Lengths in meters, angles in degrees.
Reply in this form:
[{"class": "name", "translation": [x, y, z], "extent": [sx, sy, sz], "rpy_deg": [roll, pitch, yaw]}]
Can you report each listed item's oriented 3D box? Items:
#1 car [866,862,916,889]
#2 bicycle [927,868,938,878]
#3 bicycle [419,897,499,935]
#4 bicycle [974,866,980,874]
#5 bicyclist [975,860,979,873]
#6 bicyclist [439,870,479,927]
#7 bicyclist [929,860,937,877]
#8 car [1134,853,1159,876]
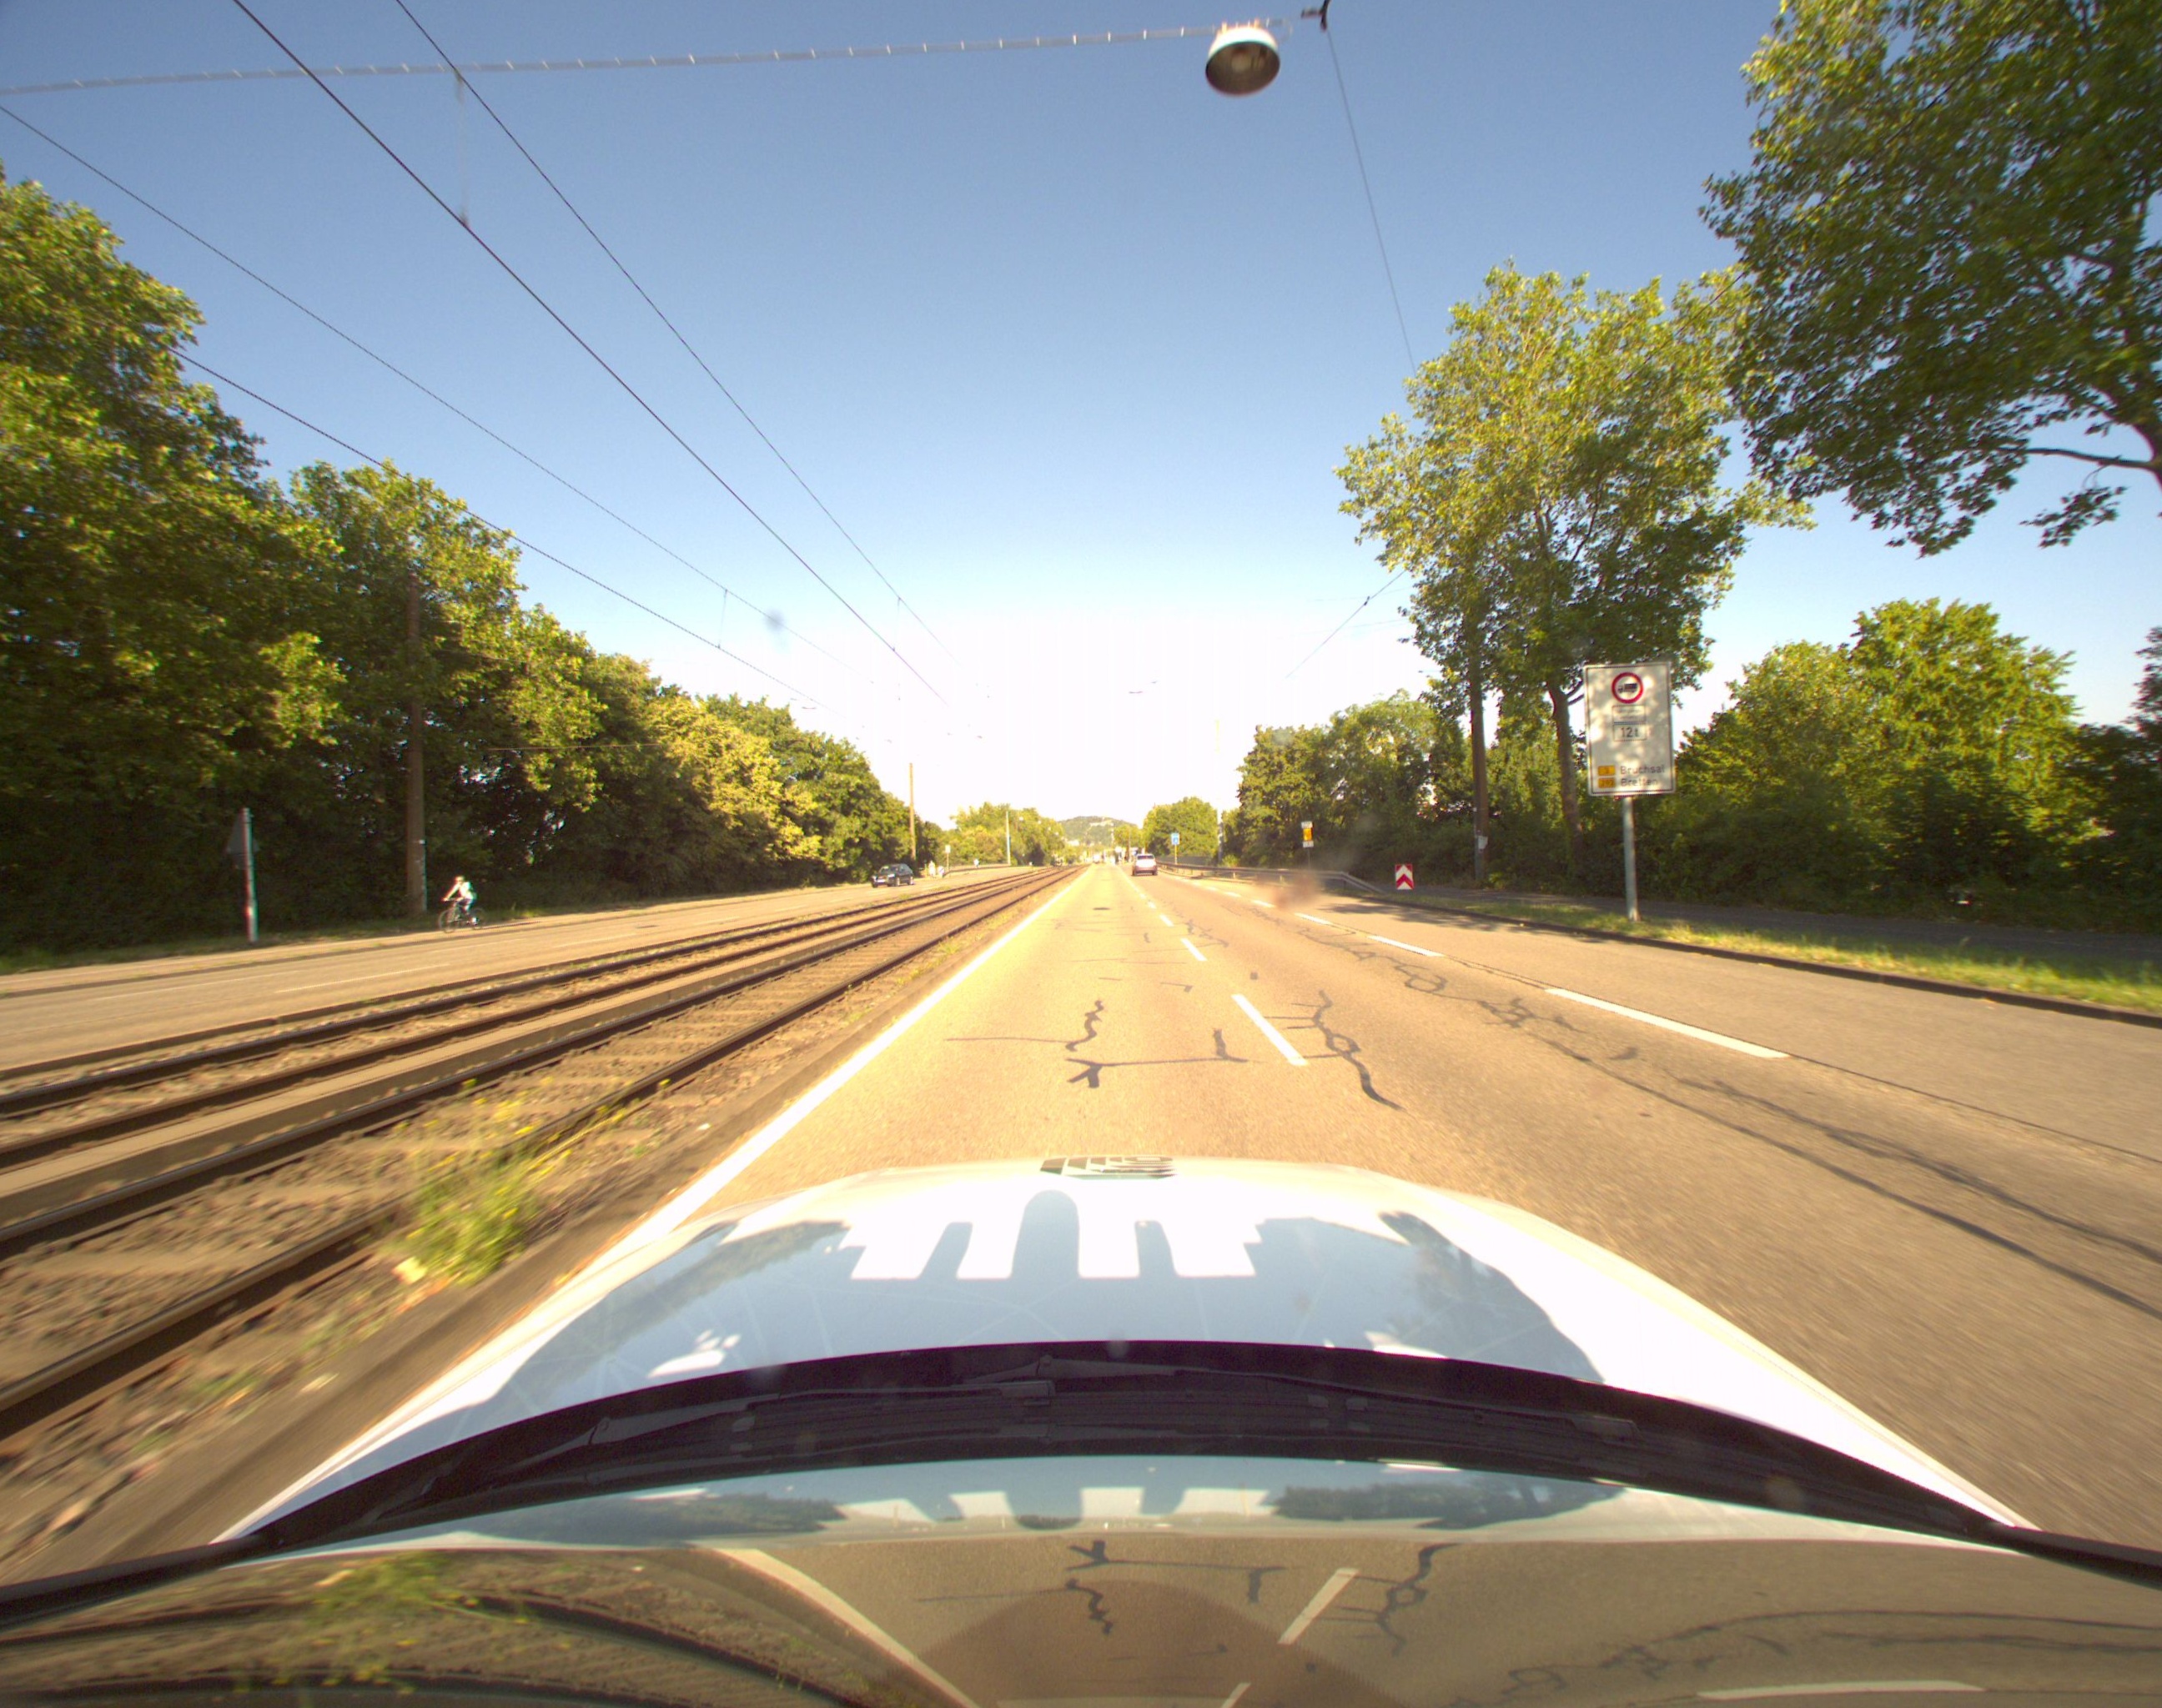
[{"class": "car", "translation": [-13.619, 1.502, 58.564], "extent": [1.984, 1.685, 4.802], "rpy_deg": [-3, -1, 5]}, {"class": "bicycle", "translation": [-14.758, 1.876, 80.862], "extent": [0.505, 0.892, 2.030], "rpy_deg": [0, 0, 5]}, {"class": "bicycle", "translation": [-18.999, 1.871, 24.930], "extent": [0.548, 0.986, 2.242], "rpy_deg": [0, 0, 6]}, {"class": "bicycle", "translation": [-14.196, 2.126, 110.934], "extent": [0.538, 1.043, 1.926], "rpy_deg": [0, 0, 2]}, {"class": "bicyclist", "translation": [-14.193, 1.704, 111.126], "extent": [0.538, 1.862, 0.875], "rpy_deg": [0, -1, 1]}, {"class": "bicyclist", "translation": [-19.014, 1.353, 24.899], "extent": [0.548, 1.690, 0.821], "rpy_deg": [0, -1, 6]}, {"class": "bicyclist", "translation": [-14.744, 1.458, 81.032], "extent": [0.505, 1.687, 0.920], "rpy_deg": [0, -1, 5]}, {"class": "car", "translation": [5.104, 0.786, 63.742], "extent": [1.880, 1.693, 4.261], "rpy_deg": [-1, 0, 4]}]
